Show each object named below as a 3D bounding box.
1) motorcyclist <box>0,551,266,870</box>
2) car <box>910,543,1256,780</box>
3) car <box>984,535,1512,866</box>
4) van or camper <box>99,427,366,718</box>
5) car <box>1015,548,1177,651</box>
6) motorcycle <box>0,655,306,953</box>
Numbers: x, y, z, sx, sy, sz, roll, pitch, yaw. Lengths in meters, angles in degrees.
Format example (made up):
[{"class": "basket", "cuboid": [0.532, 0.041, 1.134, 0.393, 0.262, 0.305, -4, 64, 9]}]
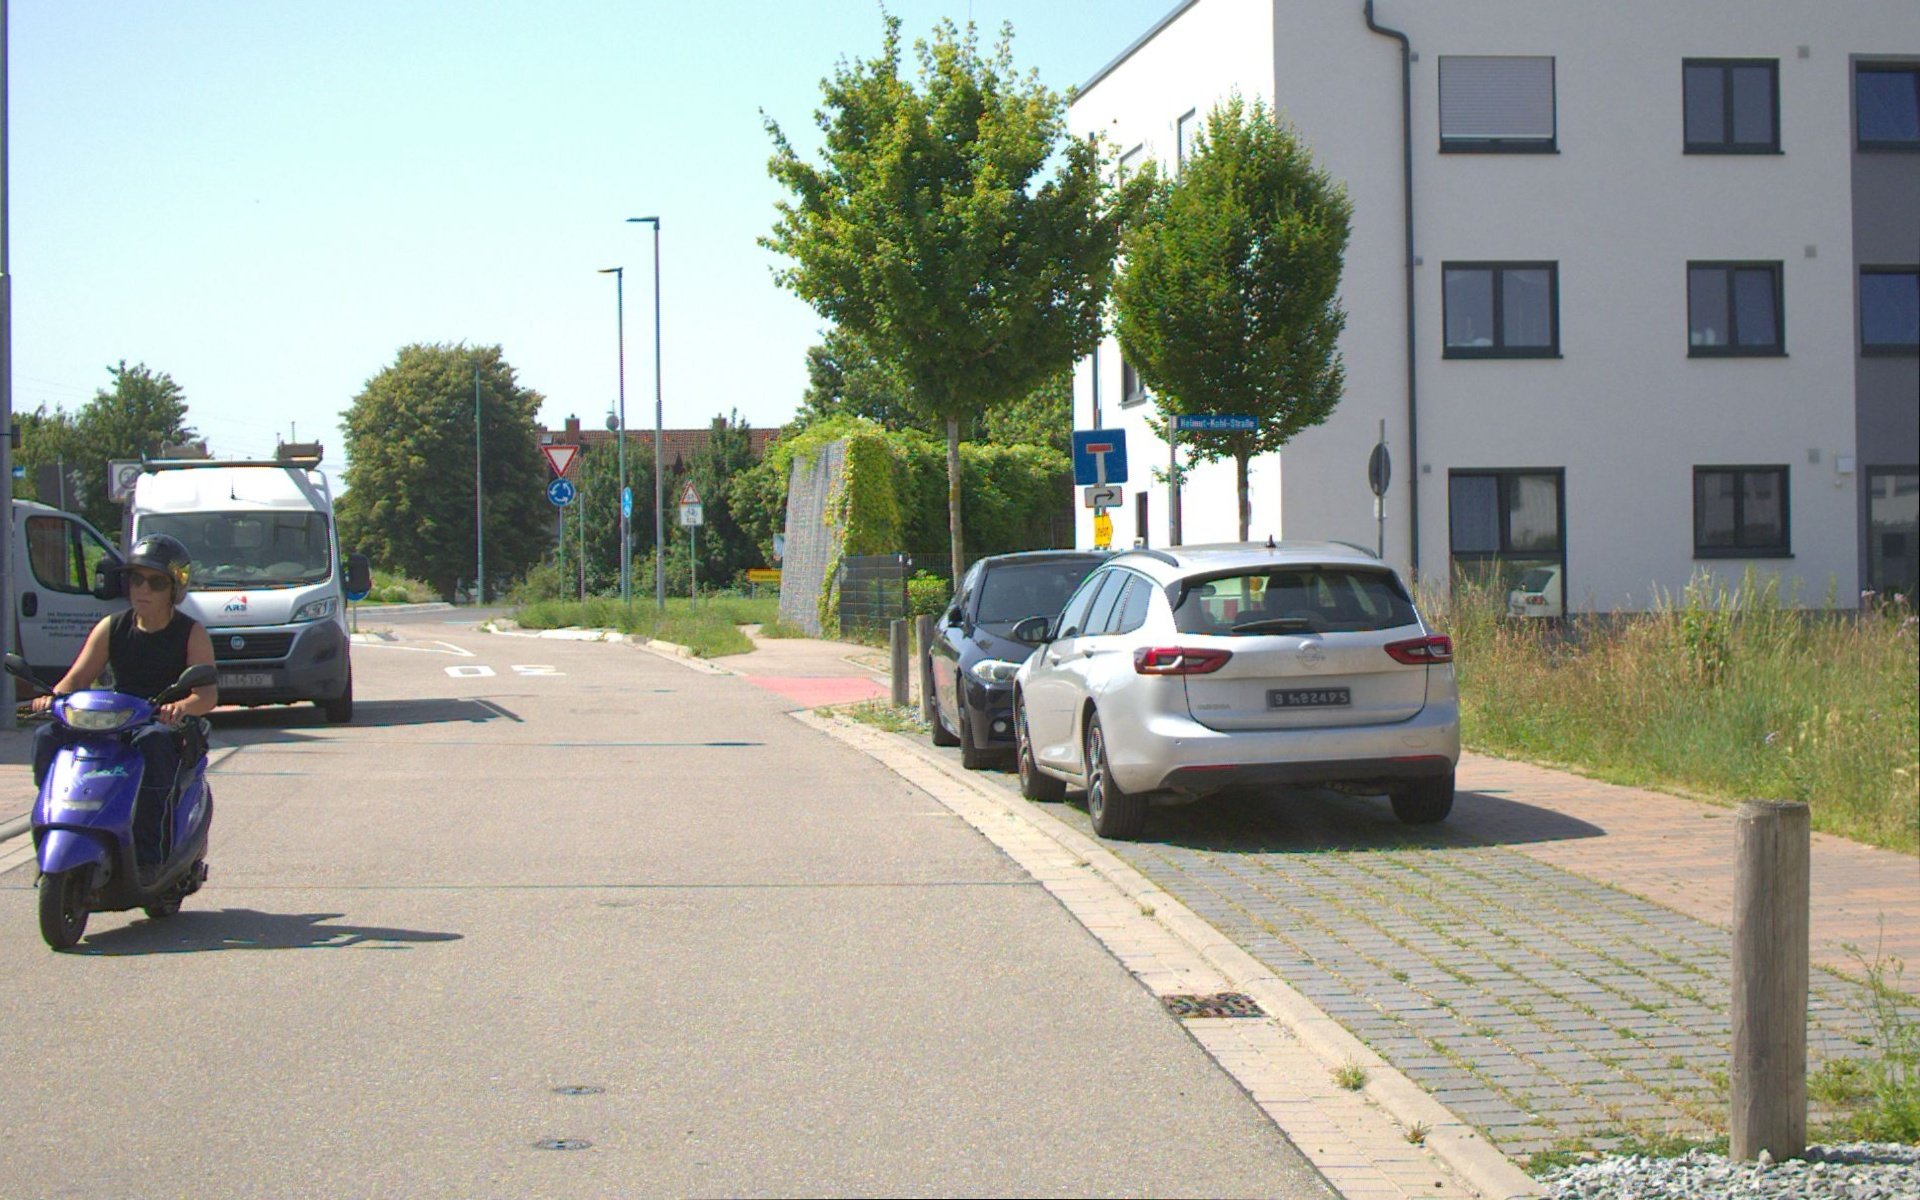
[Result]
[{"class": "motorcyclist", "cuboid": [-3.329, 0.425, 13.833, 0.924, 1.218, 0.804, -1, 1, -3]}, {"class": "car", "cuboid": [0.777, 0.359, 25.202, 1.918, 1.464, 5.141, -2, 1, -4]}, {"class": "car", "cuboid": [1.413, 0.431, 19.165, 1.918, 1.506, 5.296, -2, 1, -6]}, {"class": "van or camper", "cuboid": [-7.116, -0.248, 33.592, 2.272, 2.544, 6.369, -1, 0, -12]}, {"class": "car", "cuboid": [2.000, -0.032, 51.843, 1.677, 1.464, 4.117, 0, 1, -9]}, {"class": "motorcycle", "cuboid": [-3.336, 0.784, 14.072, 0.955, 1.031, 2.437, -1, 1, -3]}]
